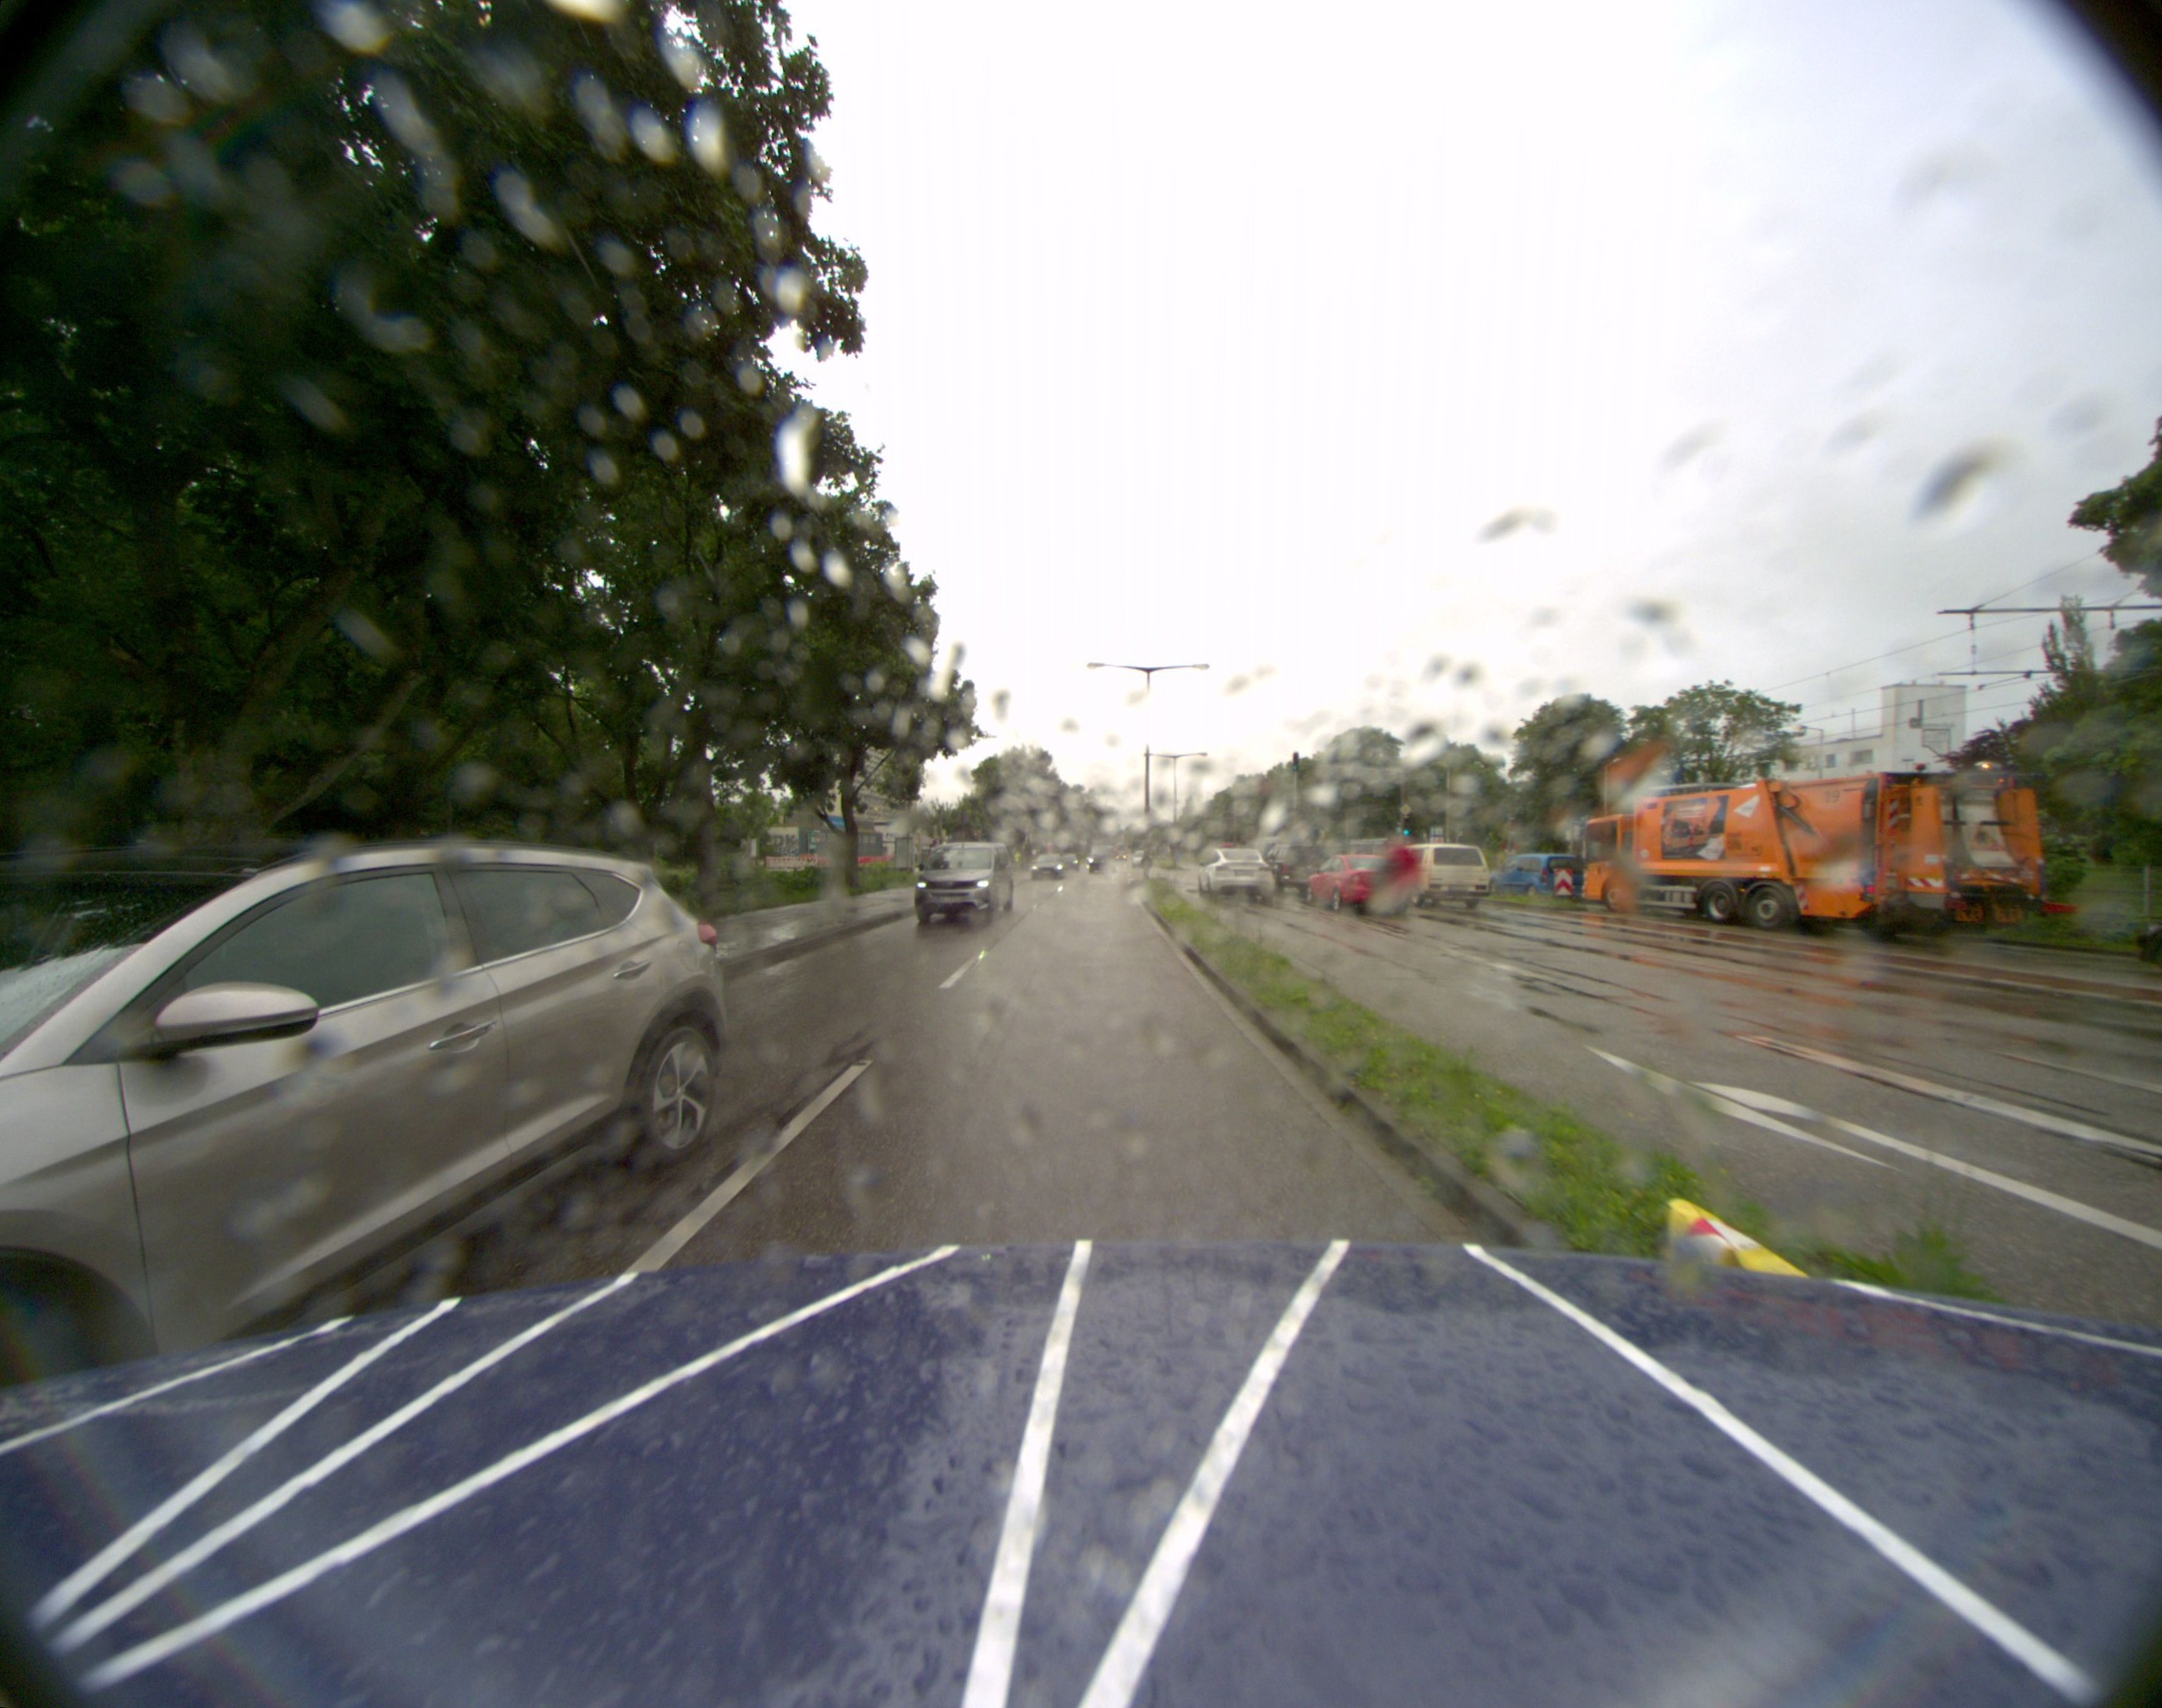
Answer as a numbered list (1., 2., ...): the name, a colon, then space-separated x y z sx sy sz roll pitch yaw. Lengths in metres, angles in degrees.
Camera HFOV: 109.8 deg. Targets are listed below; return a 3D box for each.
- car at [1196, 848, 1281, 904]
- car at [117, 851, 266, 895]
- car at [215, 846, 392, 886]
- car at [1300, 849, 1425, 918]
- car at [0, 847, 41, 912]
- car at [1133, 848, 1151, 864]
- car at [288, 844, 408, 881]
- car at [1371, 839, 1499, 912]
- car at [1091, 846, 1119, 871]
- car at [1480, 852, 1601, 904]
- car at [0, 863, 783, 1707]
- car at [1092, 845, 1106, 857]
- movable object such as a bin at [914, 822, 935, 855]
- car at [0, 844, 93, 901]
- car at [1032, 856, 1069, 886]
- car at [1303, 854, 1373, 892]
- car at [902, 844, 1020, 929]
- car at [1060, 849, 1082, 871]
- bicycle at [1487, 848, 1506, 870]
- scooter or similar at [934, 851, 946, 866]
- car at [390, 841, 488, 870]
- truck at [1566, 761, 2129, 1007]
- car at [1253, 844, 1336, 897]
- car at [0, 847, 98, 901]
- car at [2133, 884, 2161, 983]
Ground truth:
1. car: 4.929 0.619 24.419 1.965 1.608 4.697 0 0 3
2. car: -33.217 0.696 28.429 3.718 1.441 1.670 -2 1 4
3. car: -32.340 0.462 31.714 5.410 1.441 2.168 -2 1 5
4. car: 7.439 0.702 20.577 1.805 1.560 4.428 2 1 2
5. car: -25.672 0.642 16.296 1.665 1.441 3.759 -1 2 42
6. car: 5.919 0.195 74.061 1.740 1.535 4.015 -1 0 4
7. car: -33.198 0.377 34.475 3.994 1.516 1.884 -2 1 10
8. car: 10.883 0.588 23.811 1.933 2.006 4.743 2 1 3
9. car: 1.787 0.320 55.260 1.812 1.683 3.777 -2 1 4
10. car: 17.113 0.827 28.600 1.998 1.699 4.527 -2 1 4
11. car: -2.960 0.911 2.873 1.889 1.601 4.195 -1 1 1
12. car: 2.499 -0.420 104.847 1.726 1.643 4.000 -2 1 3
13. movable object such as a bin: -21.520 -2.162 104.757 1.557 4.401 3.909 -2 1 5
14. car: -29.247 0.532 19.898 3.759 1.441 1.665 -3 2 -39
15. car: -1.764 0.983 45.175 1.858 1.583 4.000 -2 1 2
16. car: 10.988 0.755 32.717 1.645 1.419 3.999 2 1 1
17. car: -2.787 0.680 18.777 1.998 1.785 4.562 -1 1 2
18. car: -0.800 0.460 63.767 1.651 1.652 3.776 -2 1 1
19. bicycle: 33.186 0.414 60.684 0.641 1.751 1.735 0 1 4
20. scooter or similar: -12.109 0.420 65.210 0.959 1.223 0.322 3 1 8
21. car: -40.450 0.073 47.958 4.596 1.621 1.926 -2 1 3
22. truck: 16.530 0.442 18.305 3.393 4.144 10.406 -2 1 3
23. car: 7.787 0.533 28.220 1.810 1.763 5.089 1 1 2
24. car: -30.802 0.592 21.236 3.759 1.441 1.599 -3 2 -39
25. car: 15.790 1.165 8.985 1.591 1.371 3.686 2 1 2
